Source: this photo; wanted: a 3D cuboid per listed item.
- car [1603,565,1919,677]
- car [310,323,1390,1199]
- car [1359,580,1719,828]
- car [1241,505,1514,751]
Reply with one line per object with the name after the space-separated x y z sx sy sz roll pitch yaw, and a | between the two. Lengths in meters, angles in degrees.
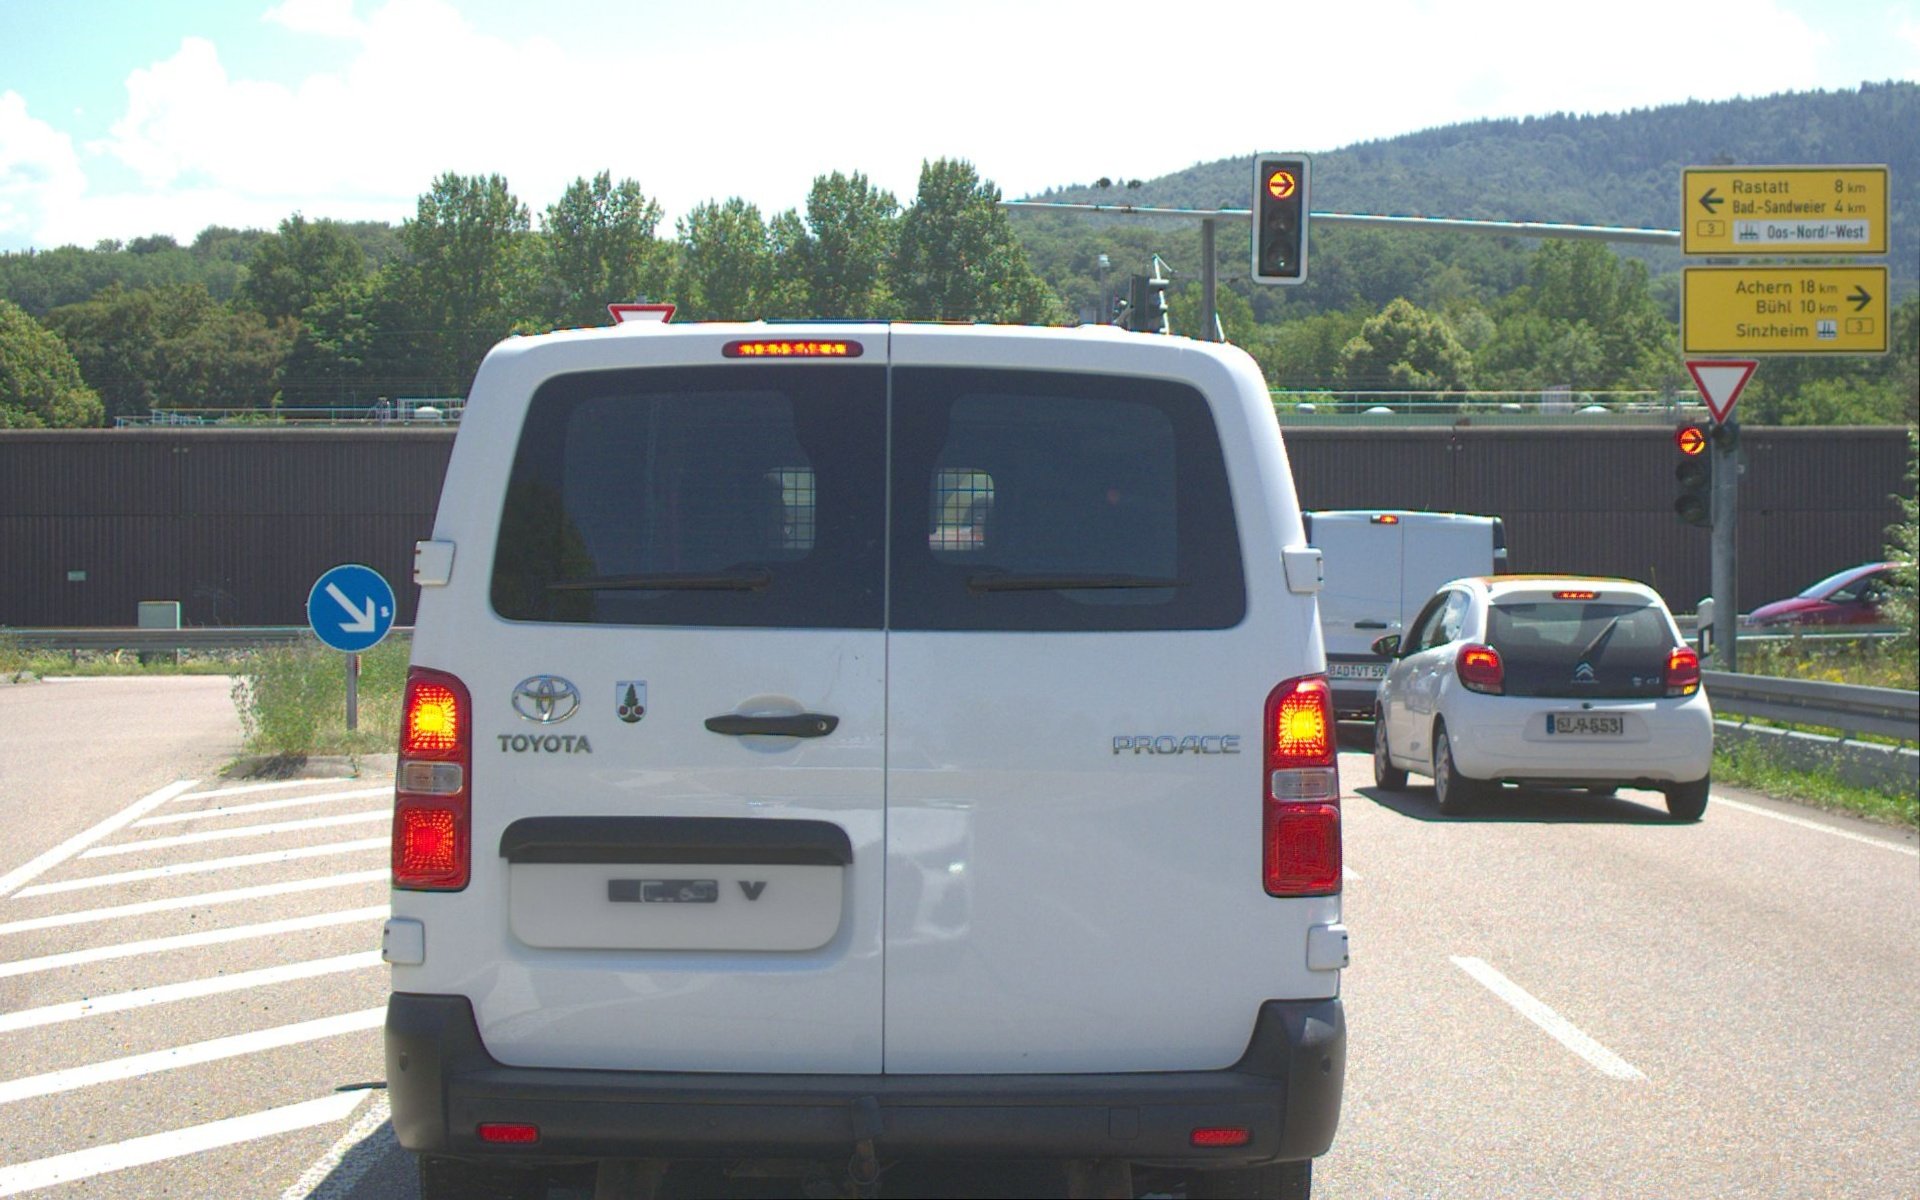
12.143 0.303 52.208 4.309 1.651 2.000 0 0 -3 | car
-0.226 0.450 8.076 1.886 1.880 4.000 1 0 -1 | car
3.595 0.601 21.881 1.656 1.426 3.366 1 0 -1 | car
3.624 0.213 30.623 1.928 1.993 4.837 1 0 1 | car
